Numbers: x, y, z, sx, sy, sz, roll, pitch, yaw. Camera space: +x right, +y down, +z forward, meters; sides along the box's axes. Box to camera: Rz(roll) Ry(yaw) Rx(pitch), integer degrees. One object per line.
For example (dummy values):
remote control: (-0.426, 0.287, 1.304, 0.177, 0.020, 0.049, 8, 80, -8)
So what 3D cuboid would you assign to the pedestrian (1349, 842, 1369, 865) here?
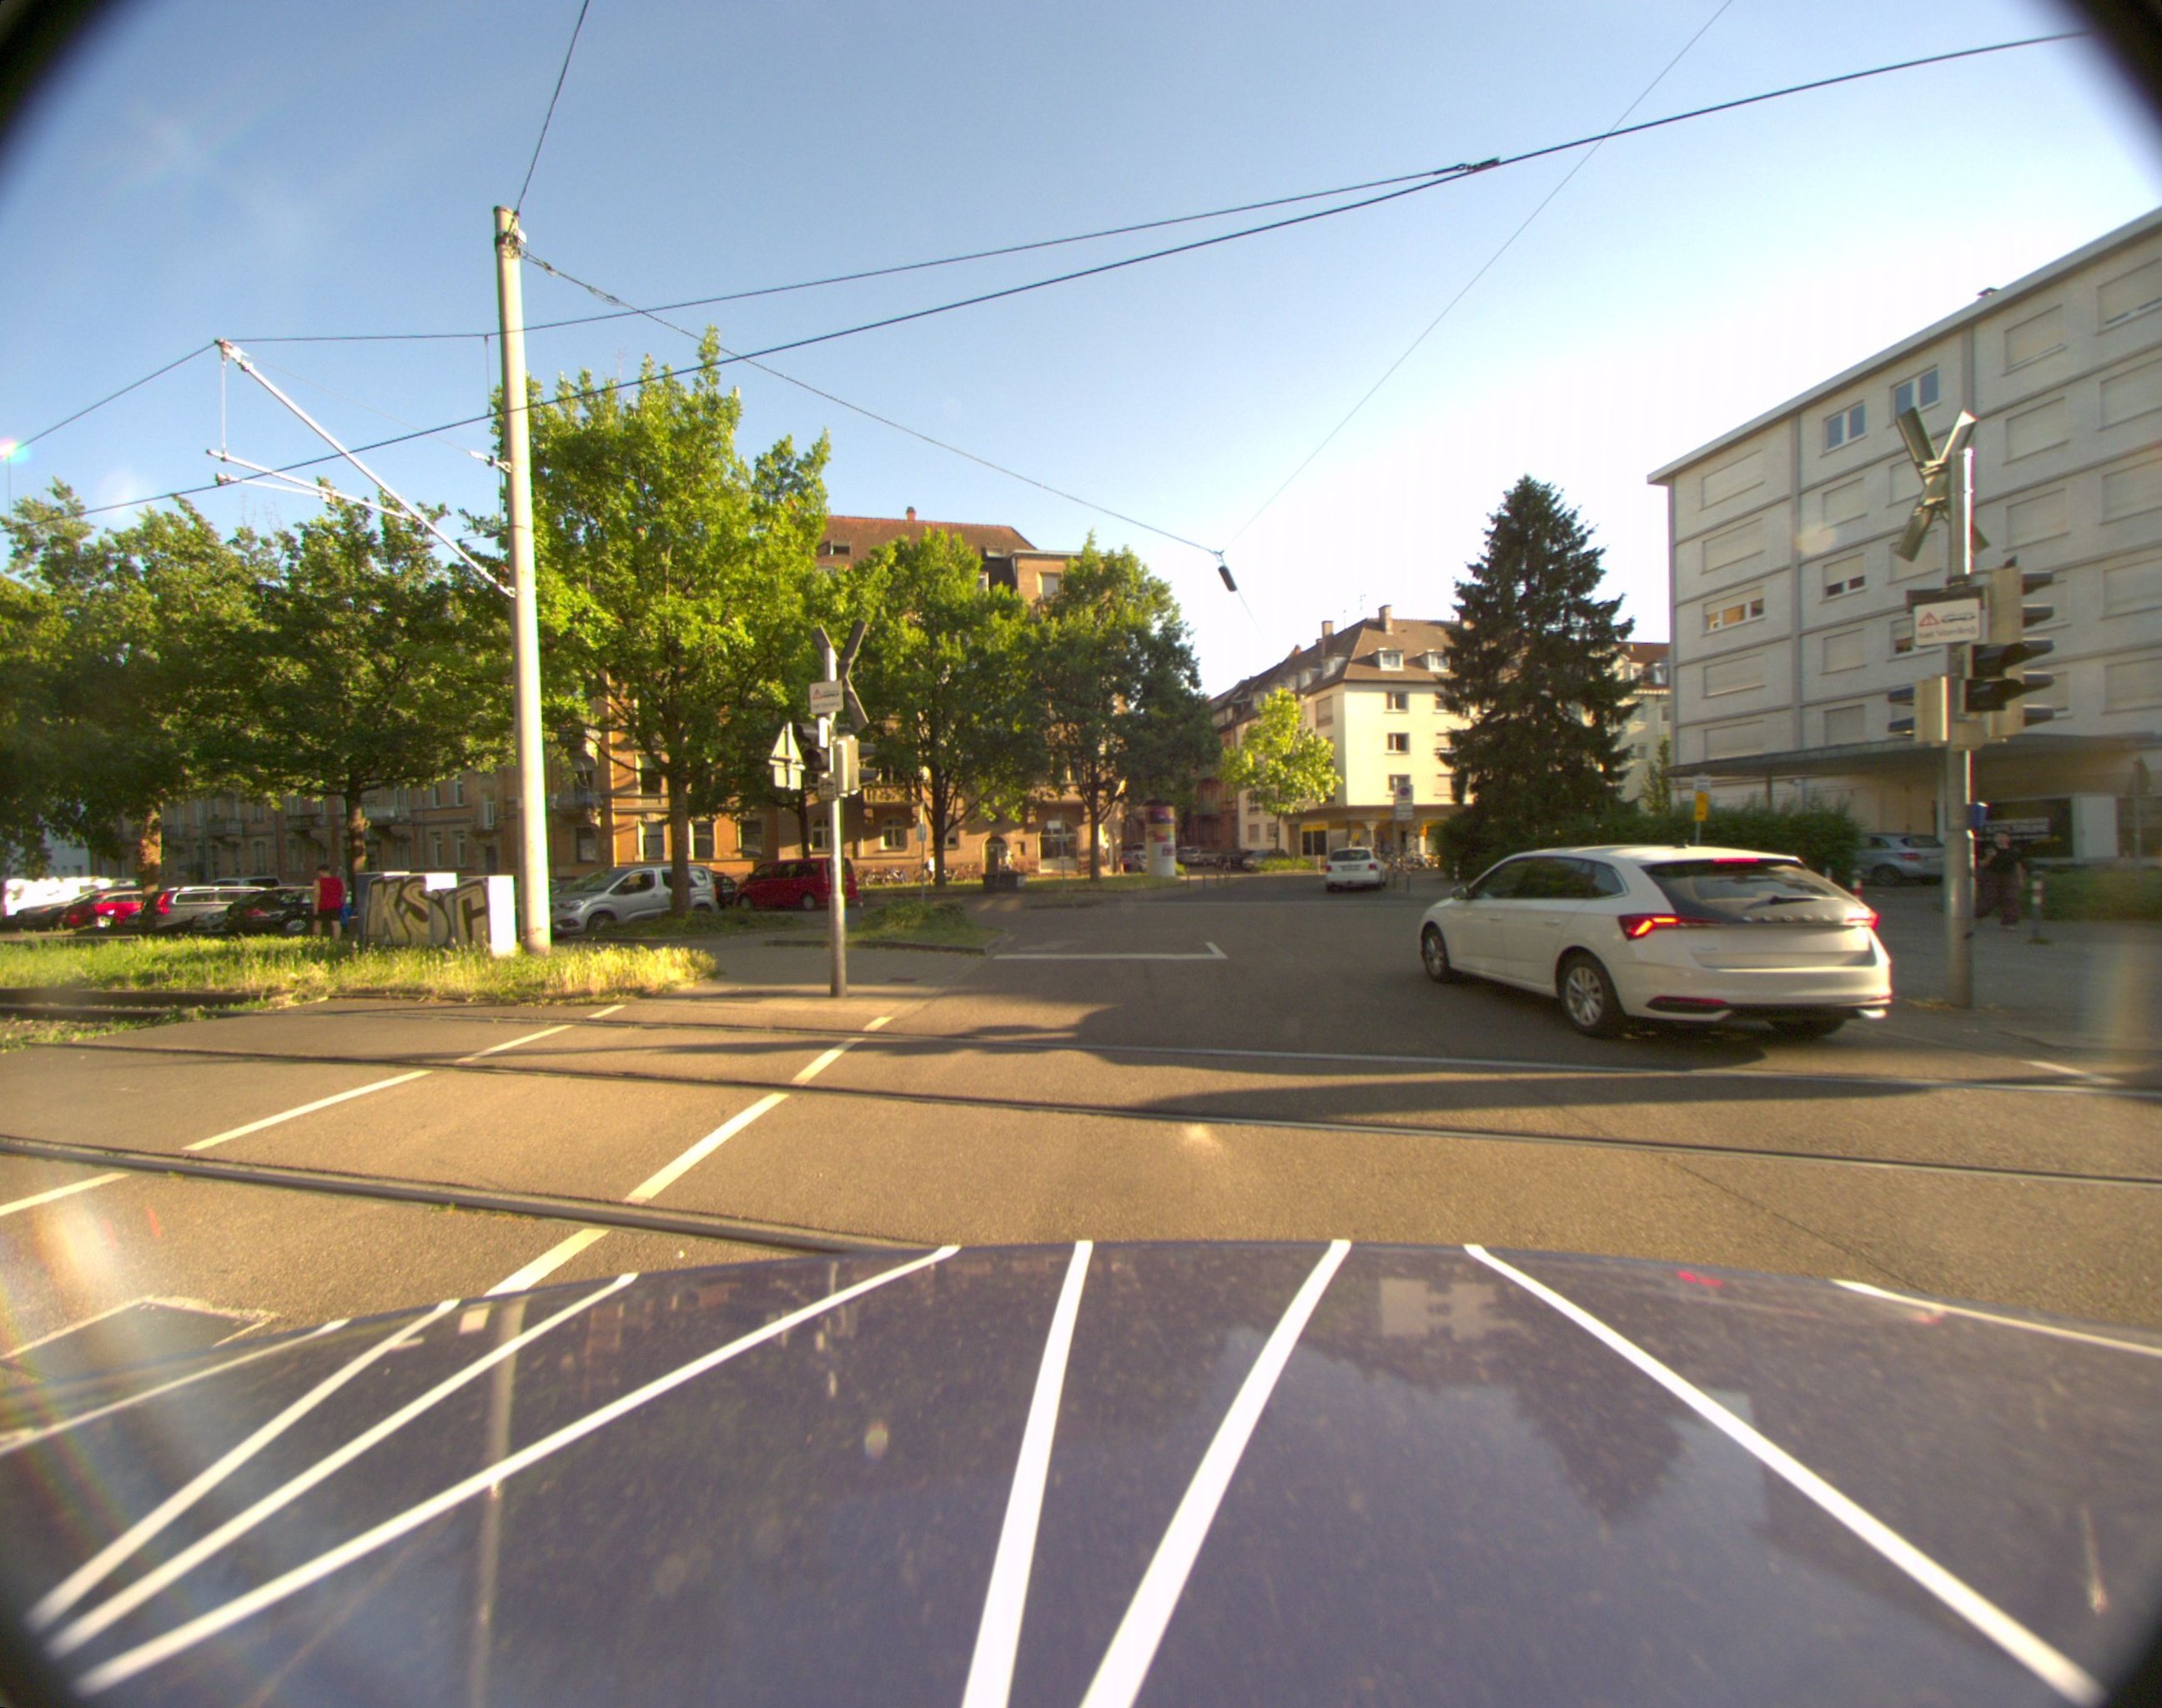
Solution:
pedestrian: (19.167, -0.013, 52.369, 0.964, 1.560, 0.890, -2, 1, -10)

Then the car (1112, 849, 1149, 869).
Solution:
car: (3.755, 0.374, 58.210, 1.874, 1.392, 3.996, -2, 0, -10)

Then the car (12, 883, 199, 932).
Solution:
car: (-37.095, 1.984, 29.036, 1.762, 1.570, 4.006, -2, 0, 21)

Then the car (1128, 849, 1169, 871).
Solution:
car: (4.666, 0.406, 53.304, 1.874, 1.392, 3.996, -2, 0, -10)

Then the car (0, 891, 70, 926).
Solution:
car: (-48.313, 2.462, 33.616, 1.680, 1.480, 4.006, -2, 0, 23)

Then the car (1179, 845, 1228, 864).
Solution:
car: (10.313, 0.055, 64.034, 4.007, 1.496, 1.868, -2, 1, -40)

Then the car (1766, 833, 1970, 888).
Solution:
car: (24.350, 0.176, 23.742, 2.000, 1.524, 3.997, -2, 0, -8)

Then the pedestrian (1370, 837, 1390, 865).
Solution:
pedestrian: (20.456, -0.228, 52.019, 0.891, 1.864, 0.851, -2, 1, -11)

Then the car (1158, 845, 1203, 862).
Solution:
car: (9.198, -0.073, 69.998, 4.007, 1.392, 1.868, -2, 1, -40)

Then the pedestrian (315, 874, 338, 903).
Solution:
pedestrian: (-46.871, 2.136, 47.224, 0.720, 1.709, 0.676, -1, 3, 23)

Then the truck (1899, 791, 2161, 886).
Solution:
truck: (28.523, -0.428, 22.882, 2.000, 2.520, 4.967, -2, 0, -11)

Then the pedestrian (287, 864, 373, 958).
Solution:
pedestrian: (-16.037, 1.190, 16.237, 1.147, 1.907, 0.907, -1, 0, 23)

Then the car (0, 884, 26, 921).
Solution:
car: (-54.936, 2.448, 36.909, 1.680, 1.821, 4.006, -2, 0, 23)

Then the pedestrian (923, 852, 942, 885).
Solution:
pedestrian: (-8.028, 0.774, 41.063, 0.912, 1.708, 0.674, -2, 2, -11)

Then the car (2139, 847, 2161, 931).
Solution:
car: (20.456, 0.557, 12.085, 3.992, 1.437, 1.718, -2, 0, 18)

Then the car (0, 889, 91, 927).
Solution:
car: (-45.941, 2.356, 32.513, 1.680, 1.480, 4.006, -2, 0, 23)

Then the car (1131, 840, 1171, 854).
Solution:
car: (7.216, -0.726, 78.237, 4.007, 1.392, 1.868, -2, 1, -40)

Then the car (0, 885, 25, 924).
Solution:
car: (-52.934, 2.454, 35.430, 1.680, 1.821, 4.006, -2, 0, 23)

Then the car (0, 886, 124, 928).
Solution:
car: (-43.546, 2.219, 31.797, 1.680, 1.544, 4.006, -2, 0, 23)

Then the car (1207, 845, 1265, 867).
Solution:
car: (11.883, 0.164, 58.213, 4.005, 1.559, 1.869, -2, 1, -26)

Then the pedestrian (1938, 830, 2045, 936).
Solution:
pedestrian: (15.477, 0.467, 12.955, 0.869, 1.726, 0.832, -1, 2, 22)

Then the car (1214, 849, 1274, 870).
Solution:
car: (11.773, 0.378, 54.896, 4.006, 1.392, 1.869, -2, 1, -28)

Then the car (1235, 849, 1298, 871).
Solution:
car: (12.882, 0.390, 52.686, 4.006, 1.392, 1.869, -2, 1, -28)

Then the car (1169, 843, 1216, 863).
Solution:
car: (9.857, -0.097, 67.199, 4.007, 1.626, 1.868, -2, 1, -40)

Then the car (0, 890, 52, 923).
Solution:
car: (-50.812, 2.487, 34.818, 1.680, 1.480, 4.006, -2, 0, 23)

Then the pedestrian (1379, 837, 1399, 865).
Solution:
pedestrian: (20.733, -0.203, 51.231, 0.891, 1.864, 0.851, -2, 1, -11)

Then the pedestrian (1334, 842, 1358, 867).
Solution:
pedestrian: (18.023, 0.013, 51.748, 1.215, 1.657, 0.963, -2, 1, -11)

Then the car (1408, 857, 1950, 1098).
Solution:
car: (4.615, 0.785, 6.789, 1.706, 1.448, 4.063, -2, 0, 2)

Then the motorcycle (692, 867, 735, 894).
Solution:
motorcycle: (-19.937, 1.412, 41.264, 1.899, 1.345, 0.809, -3, 1, -13)

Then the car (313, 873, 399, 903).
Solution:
car: (-38.952, 1.834, 40.821, 4.279, 1.376, 1.771, -2, 3, 24)
